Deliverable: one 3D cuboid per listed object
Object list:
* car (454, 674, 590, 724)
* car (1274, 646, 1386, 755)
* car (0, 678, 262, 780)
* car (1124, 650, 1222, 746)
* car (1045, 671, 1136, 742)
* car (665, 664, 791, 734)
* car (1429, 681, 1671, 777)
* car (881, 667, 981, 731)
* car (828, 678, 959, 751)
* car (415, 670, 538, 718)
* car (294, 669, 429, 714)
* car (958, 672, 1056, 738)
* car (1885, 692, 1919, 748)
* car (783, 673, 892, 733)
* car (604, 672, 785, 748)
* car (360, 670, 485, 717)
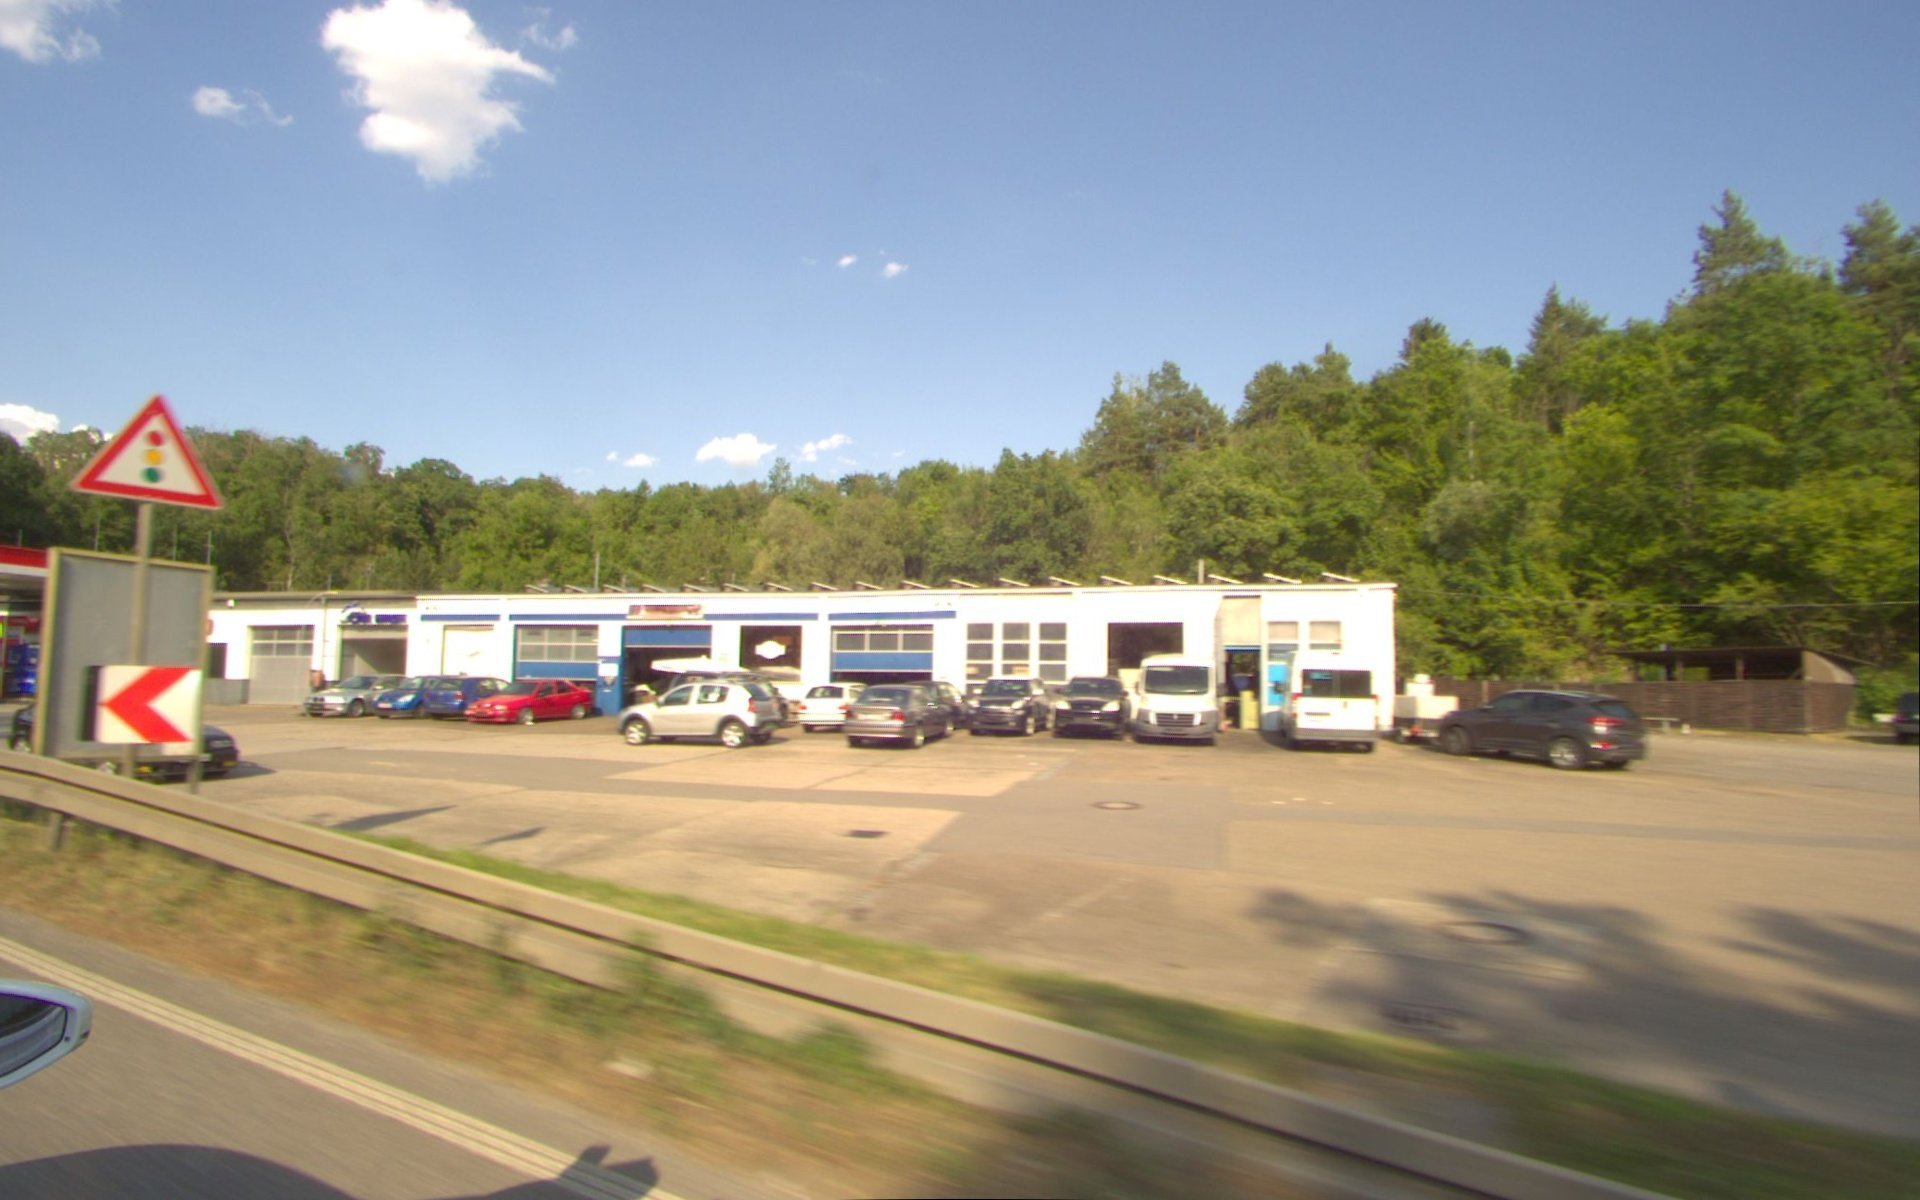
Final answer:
[{"bbox_3d":[-14.128,3.155,32.533,1.860,1.365,4.078,0,-3,16],"label":"car"},{"bbox_3d":[9.393,2.457,25.824,2.167,2.479,4.923,0,-3,14],"label":"car"},{"bbox_3d":[-13.806,2.044,16.580,4.203,1.369,1.826,0,-4,26],"label":"car"},{"bbox_3d":[5.937,2.548,27.366,2.253,2.302,5.489,0,-3,16],"label":"car"},{"bbox_3d":[3.698,2.873,27.716,1.889,1.631,4.169,0,-2,16],"label":"car"},{"bbox_3d":[-6.657,2.799,29.202,1.856,1.750,4.260,0,-2,13],"label":"car"},{"bbox_3d":[13.078,2.798,22.519,1.913,1.690,4.390,3,-2,-24],"label":"car"},{"bbox_3d":[-0.773,2.897,29.947,1.860,1.631,3.997,0,-2,16],"label":"car"},{"bbox_3d":[-1.547,2.787,25.199,1.921,1.452,4.733,0,-2,14],"label":"car"},{"bbox_3d":[-15.983,3.094,33.279,1.702,1.463,3.555,0,-4,16],"label":"car"},{"bbox_3d":[-20.507,3.103,34.513,1.743,1.371,3.970,0,-3,12],"label":"car"},{"bbox_3d":[1.438,2.926,28.674,1.860,1.630,4.252,0,-3,16],"label":"car"},{"bbox_3d":[32.686,3.948,33.154,4.497,1.694,1.985,2,-4,-33],"label":"car"},{"bbox_3d":[-3.563,3.005,29.872,1.836,1.480,4.157,0,-2,14],"label":"car"},{"bbox_3d":[-6.490,2.659,24.650,3.914,1.616,1.795,0,-2,12],"label":"car"},{"bbox_3d":[-18.059,3.126,33.808,1.660,1.423,3.561,0,-4,16],"label":"car"}]
